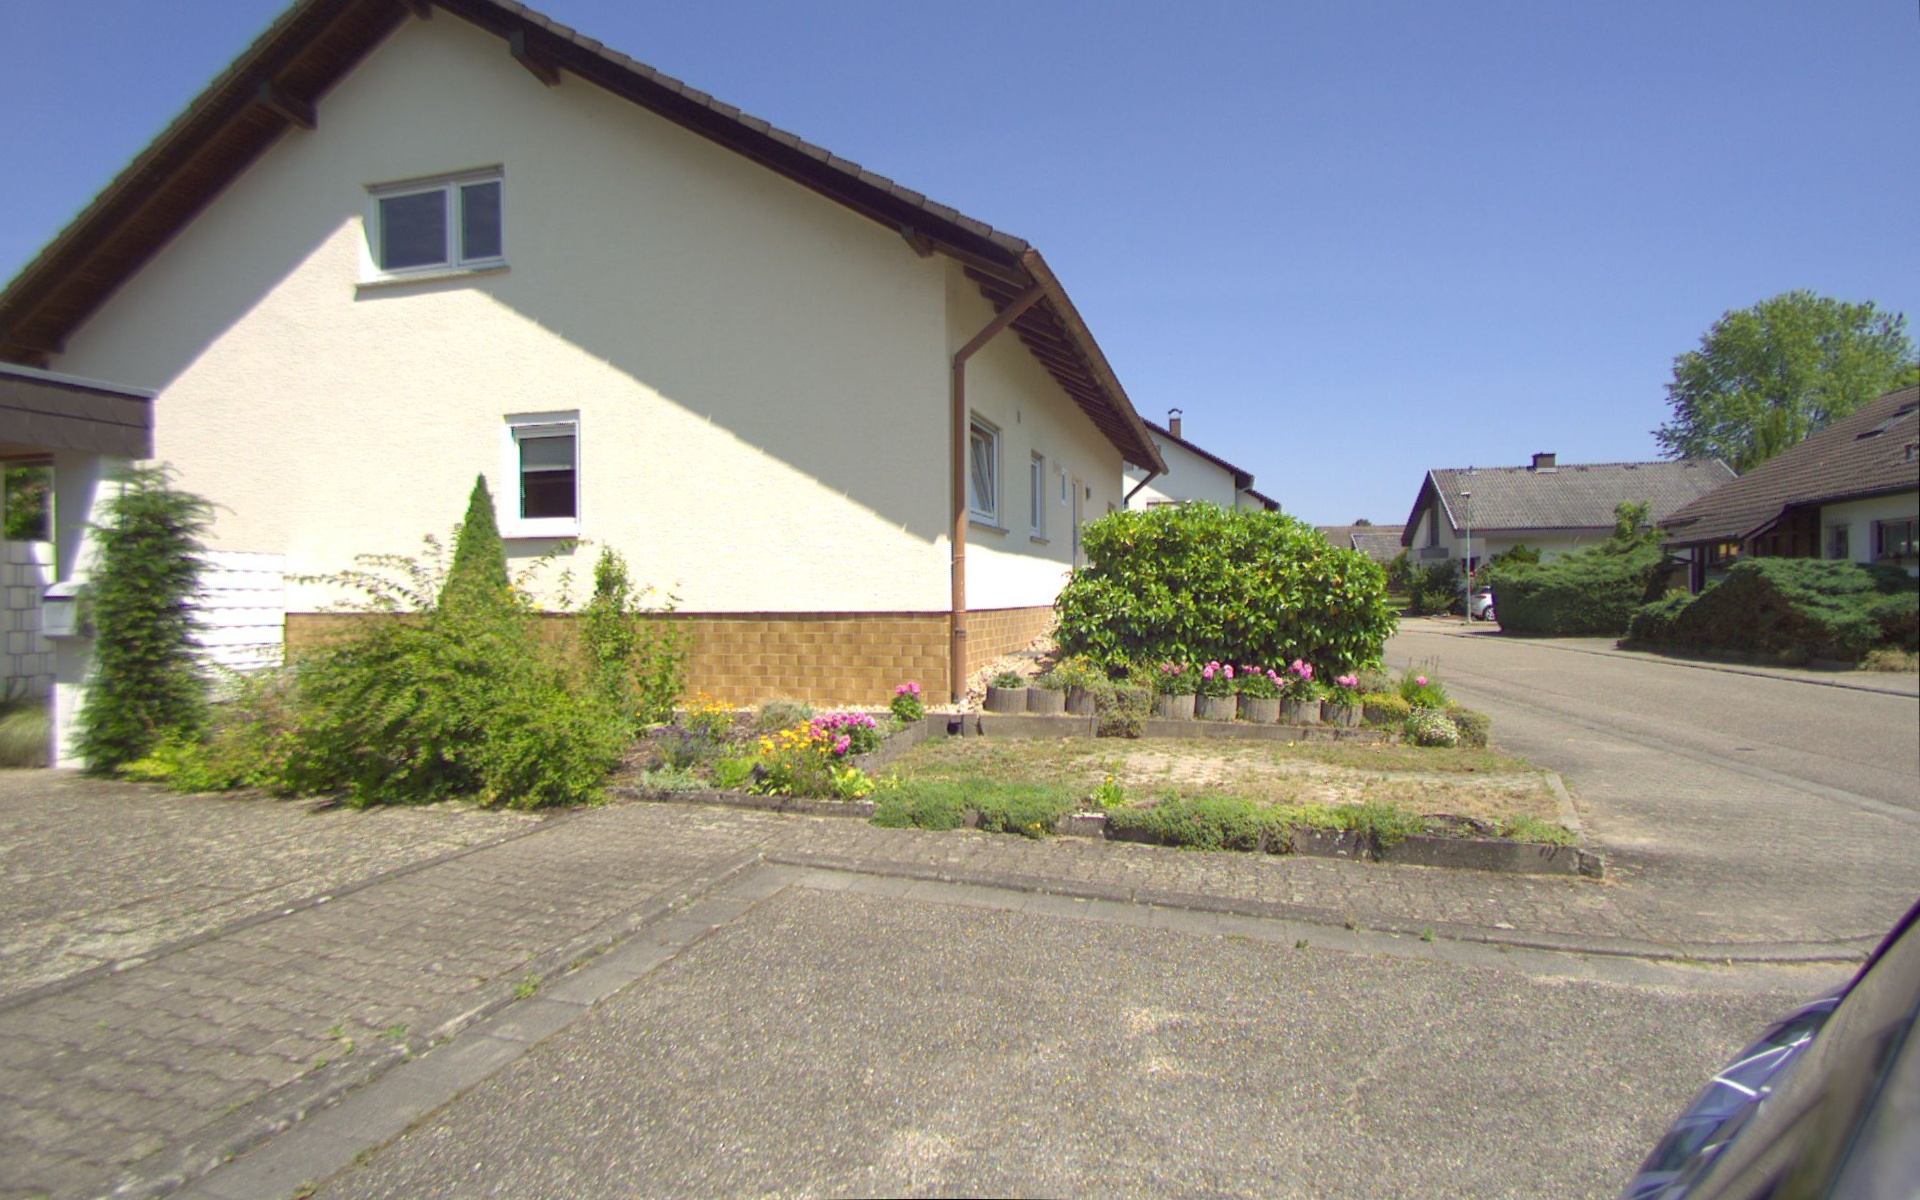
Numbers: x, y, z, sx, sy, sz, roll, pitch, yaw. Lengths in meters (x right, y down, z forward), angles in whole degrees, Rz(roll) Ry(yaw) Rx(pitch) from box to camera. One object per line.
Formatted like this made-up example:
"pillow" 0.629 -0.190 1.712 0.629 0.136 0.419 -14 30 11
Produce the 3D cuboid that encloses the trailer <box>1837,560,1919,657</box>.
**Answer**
"trailer" 17.933 0.114 18.467 1.569 1.693 3.281 -2 1 15
